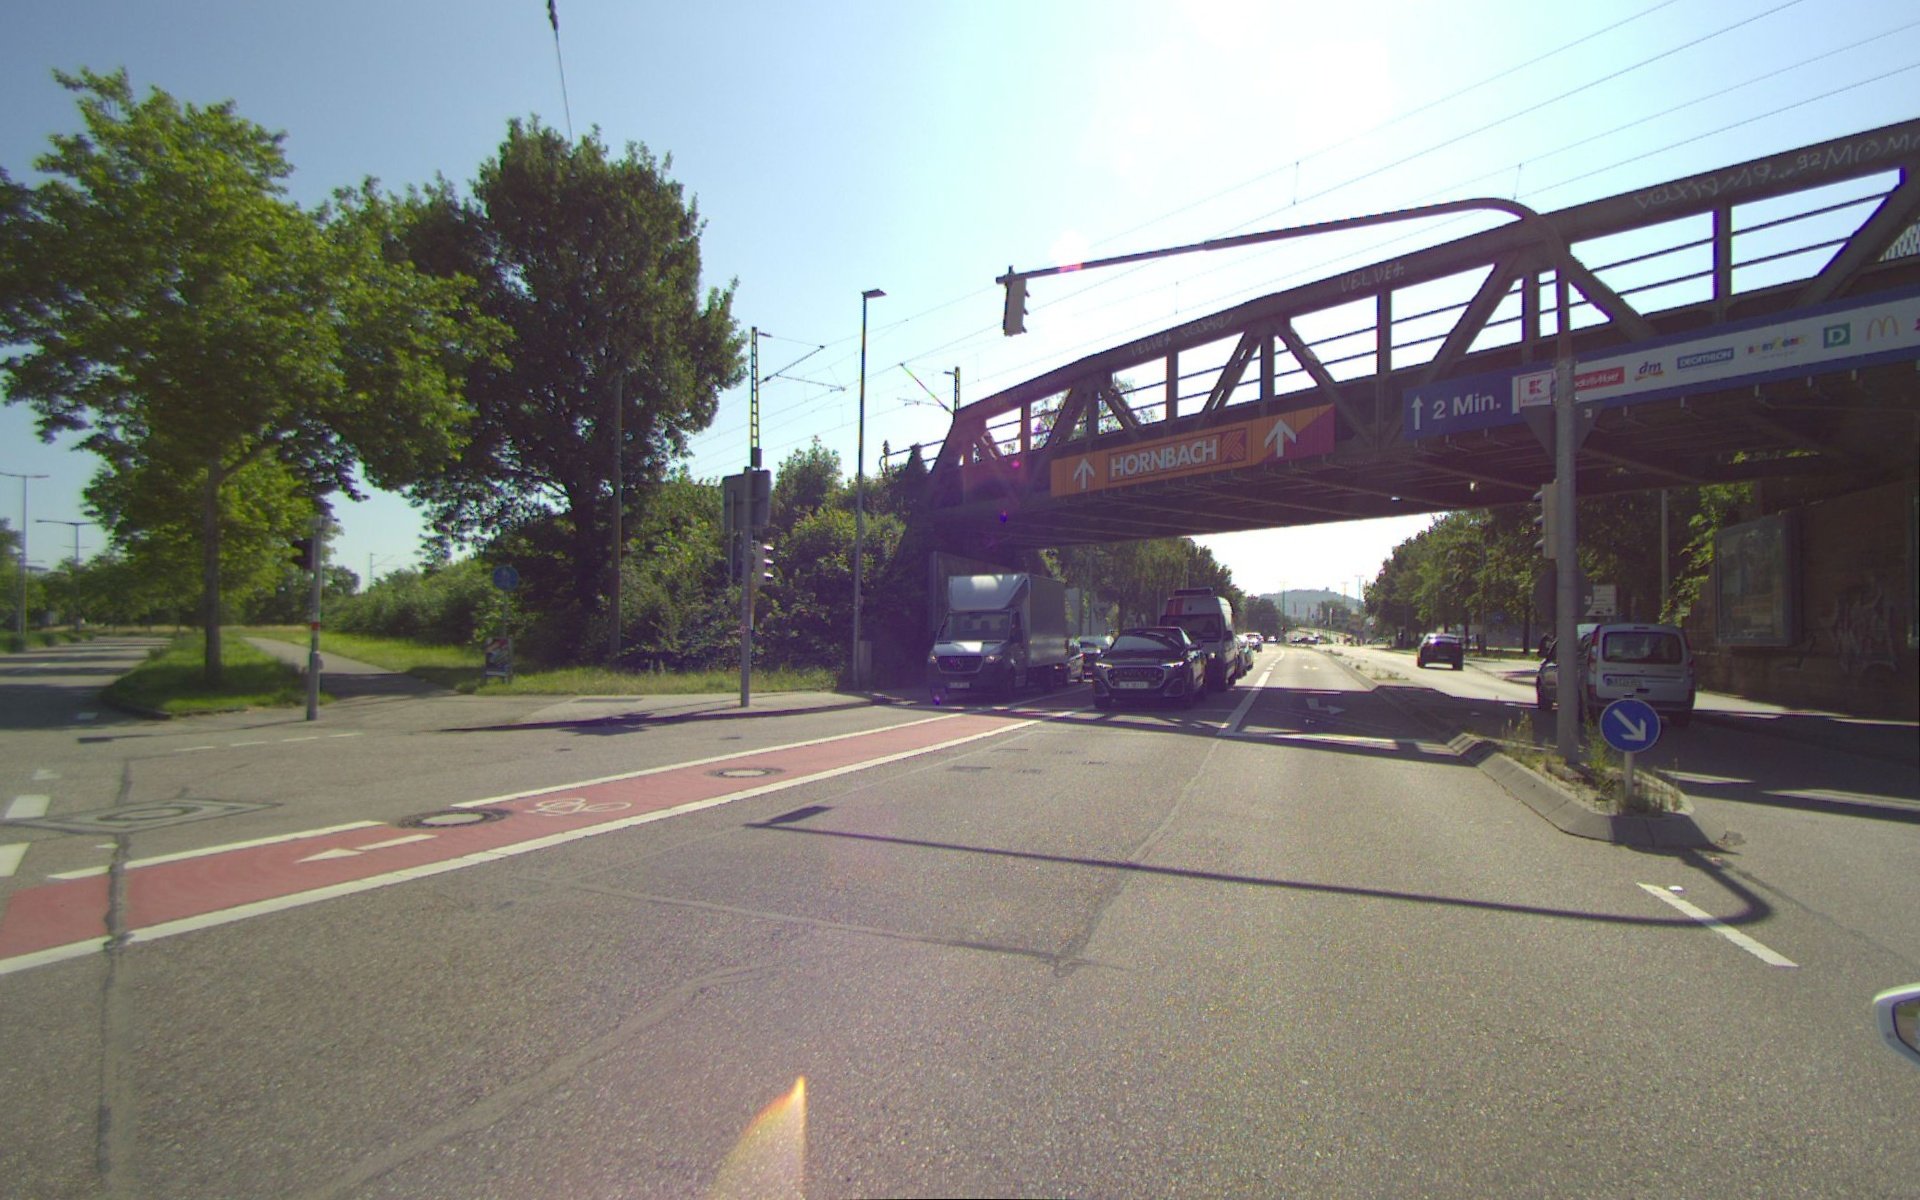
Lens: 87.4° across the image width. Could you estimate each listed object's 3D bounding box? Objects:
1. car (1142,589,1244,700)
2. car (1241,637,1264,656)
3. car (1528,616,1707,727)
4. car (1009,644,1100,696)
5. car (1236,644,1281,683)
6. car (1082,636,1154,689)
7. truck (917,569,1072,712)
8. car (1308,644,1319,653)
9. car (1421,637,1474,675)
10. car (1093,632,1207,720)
[{"bbox_3d":[6.853,1.255,28.984,2.132,2.850,6.201,0,-2,20],"label":"car"},{"bbox_3d":[29.849,4.731,102.579,1.854,1.773,3.999,-1,0,22],"label":"car"},{"bbox_3d":[12.258,1.347,19.026,1.756,1.861,4.003,-1,-4,17],"label":"car"},{"bbox_3d":[3.162,2.227,32.977,1.854,1.408,4.237,-1,0,22],"label":"car"},{"bbox_3d":[13.178,2.765,44.207,1.565,1.472,3.999,-1,0,22],"label":"car"},{"bbox_3d":[6.110,2.341,38.461,1.854,1.773,3.999,-1,0,22],"label":"car"},{"bbox_3d":[1.110,1.097,25.823,2.174,3.146,6.869,-1,-3,18],"label":"truck"},{"bbox_3d":[69.887,9.580,198.434,1.899,1.683,4.229,0,-2,21],"label":"car"},{"bbox_3d":[23.118,2.623,47.759,1.899,1.683,4.229,0,-2,21],"label":"car"},{"bbox_3d":[4.107,1.569,21.280,1.867,1.667,4.002,-1,-3,18],"label":"car"}]
